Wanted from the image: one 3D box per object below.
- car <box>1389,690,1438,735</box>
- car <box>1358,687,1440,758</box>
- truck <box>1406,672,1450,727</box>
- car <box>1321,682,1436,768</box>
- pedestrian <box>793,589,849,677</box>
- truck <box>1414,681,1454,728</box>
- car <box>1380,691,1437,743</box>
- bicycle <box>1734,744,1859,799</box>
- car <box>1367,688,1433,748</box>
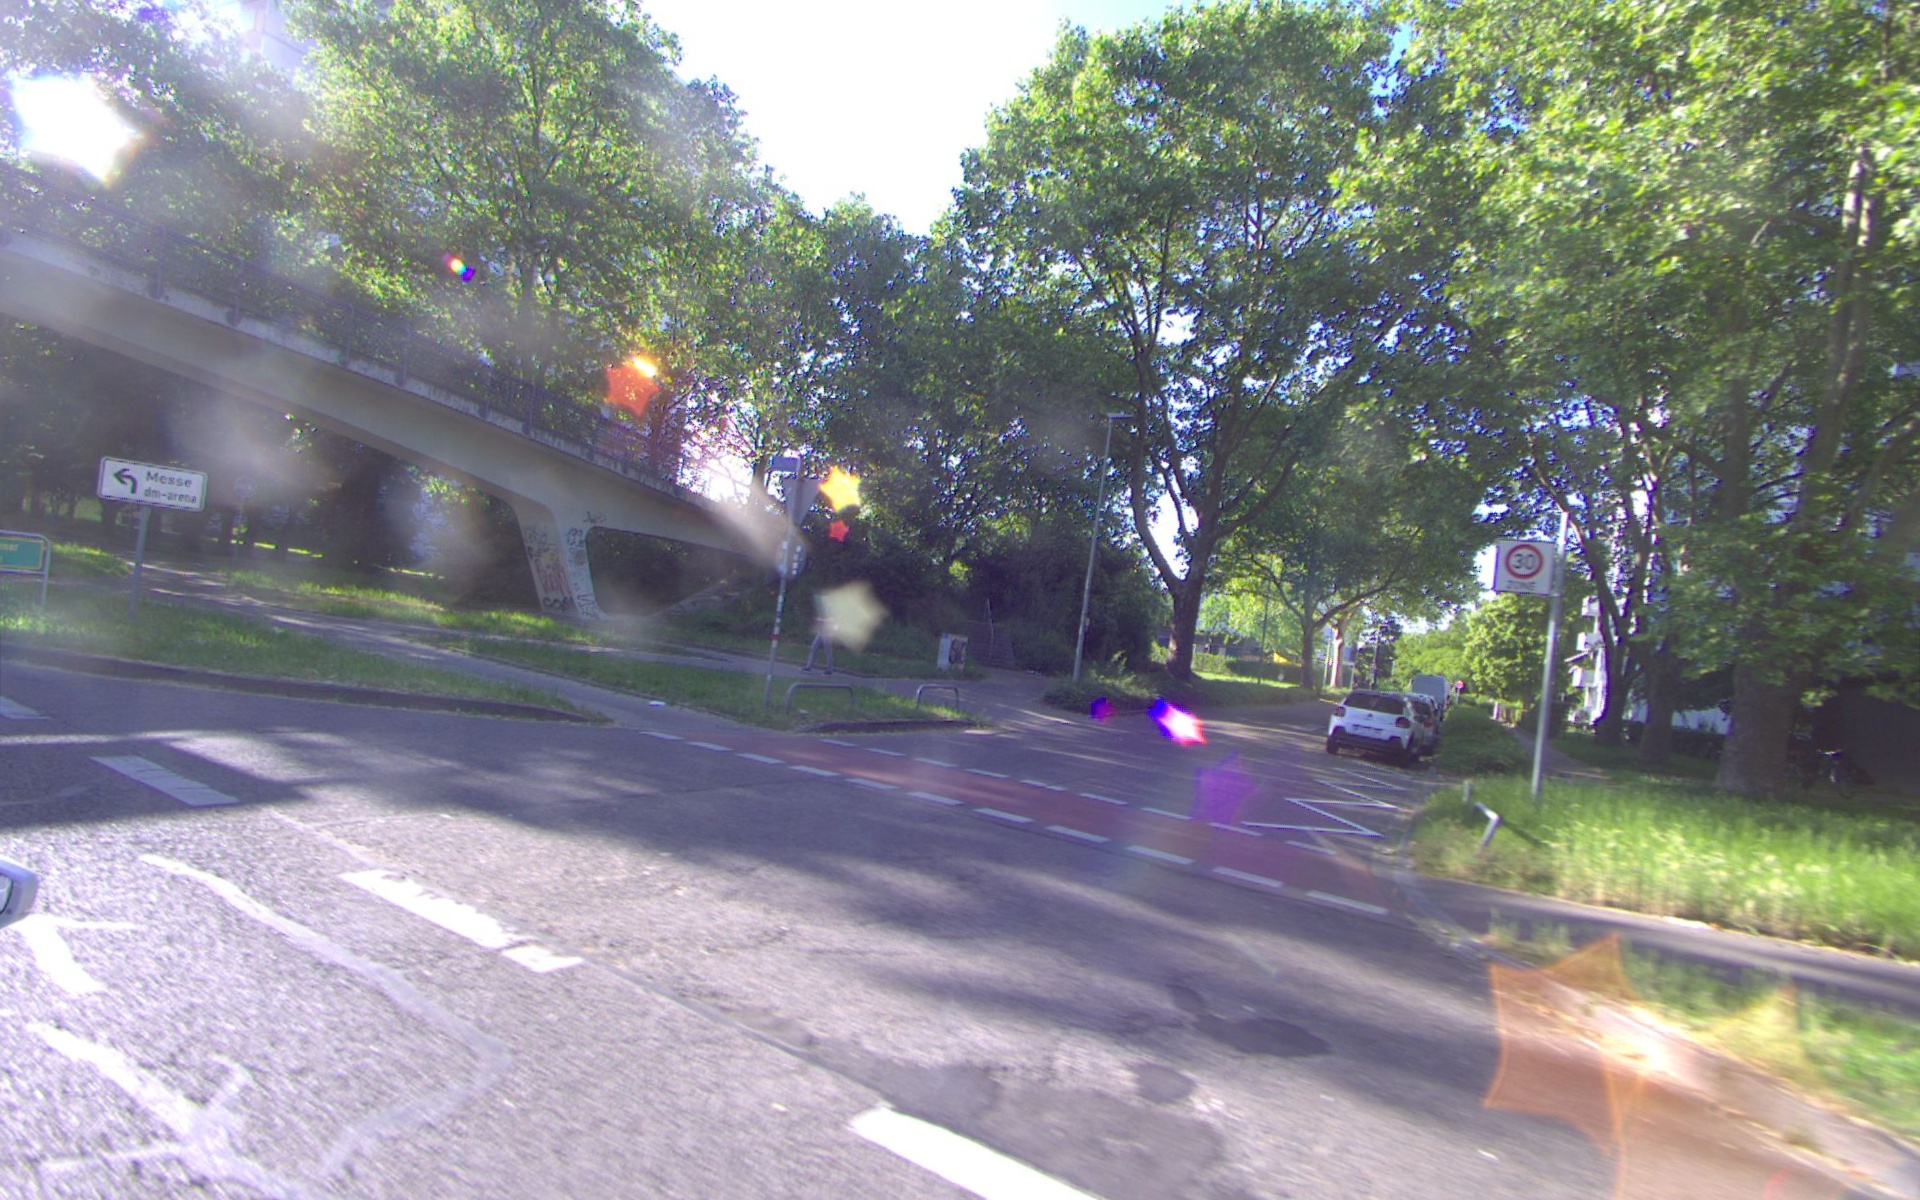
[{"bbox_3d":[18.784,4.641,41.578,1.556,1.513,3.591,9,-1,26],"label":"car"},{"bbox_3d":[12.064,3.312,27.844,1.637,1.513,3.988,9,-1,21],"label":"car"},{"bbox_3d":[28.319,6.024,60.814,1.881,2.850,5.185,9,-1,27],"label":"truck"},{"bbox_3d":[9.523,2.775,22.735,1.681,1.514,3.735,9,0,31],"label":"car"},{"bbox_3d":[-3.023,0.725,21.876,0.726,1.798,0.660,8,0,23],"label":"pedestrian"},{"bbox_3d":[34.717,7.602,73.794,1.880,3.013,5.189,9,-1,22],"label":"truck"},{"bbox_3d":[16.312,4.224,36.637,1.598,1.513,3.591,9,-1,25],"label":"car"},{"bbox_3d":[19.619,4.010,23.648,2.157,0.972,0.506,3,-1,25],"label":"bicycle"},{"bbox_3d":[13.859,3.682,31.731,1.594,1.513,3.592,9,-1,24],"label":"car"}]
